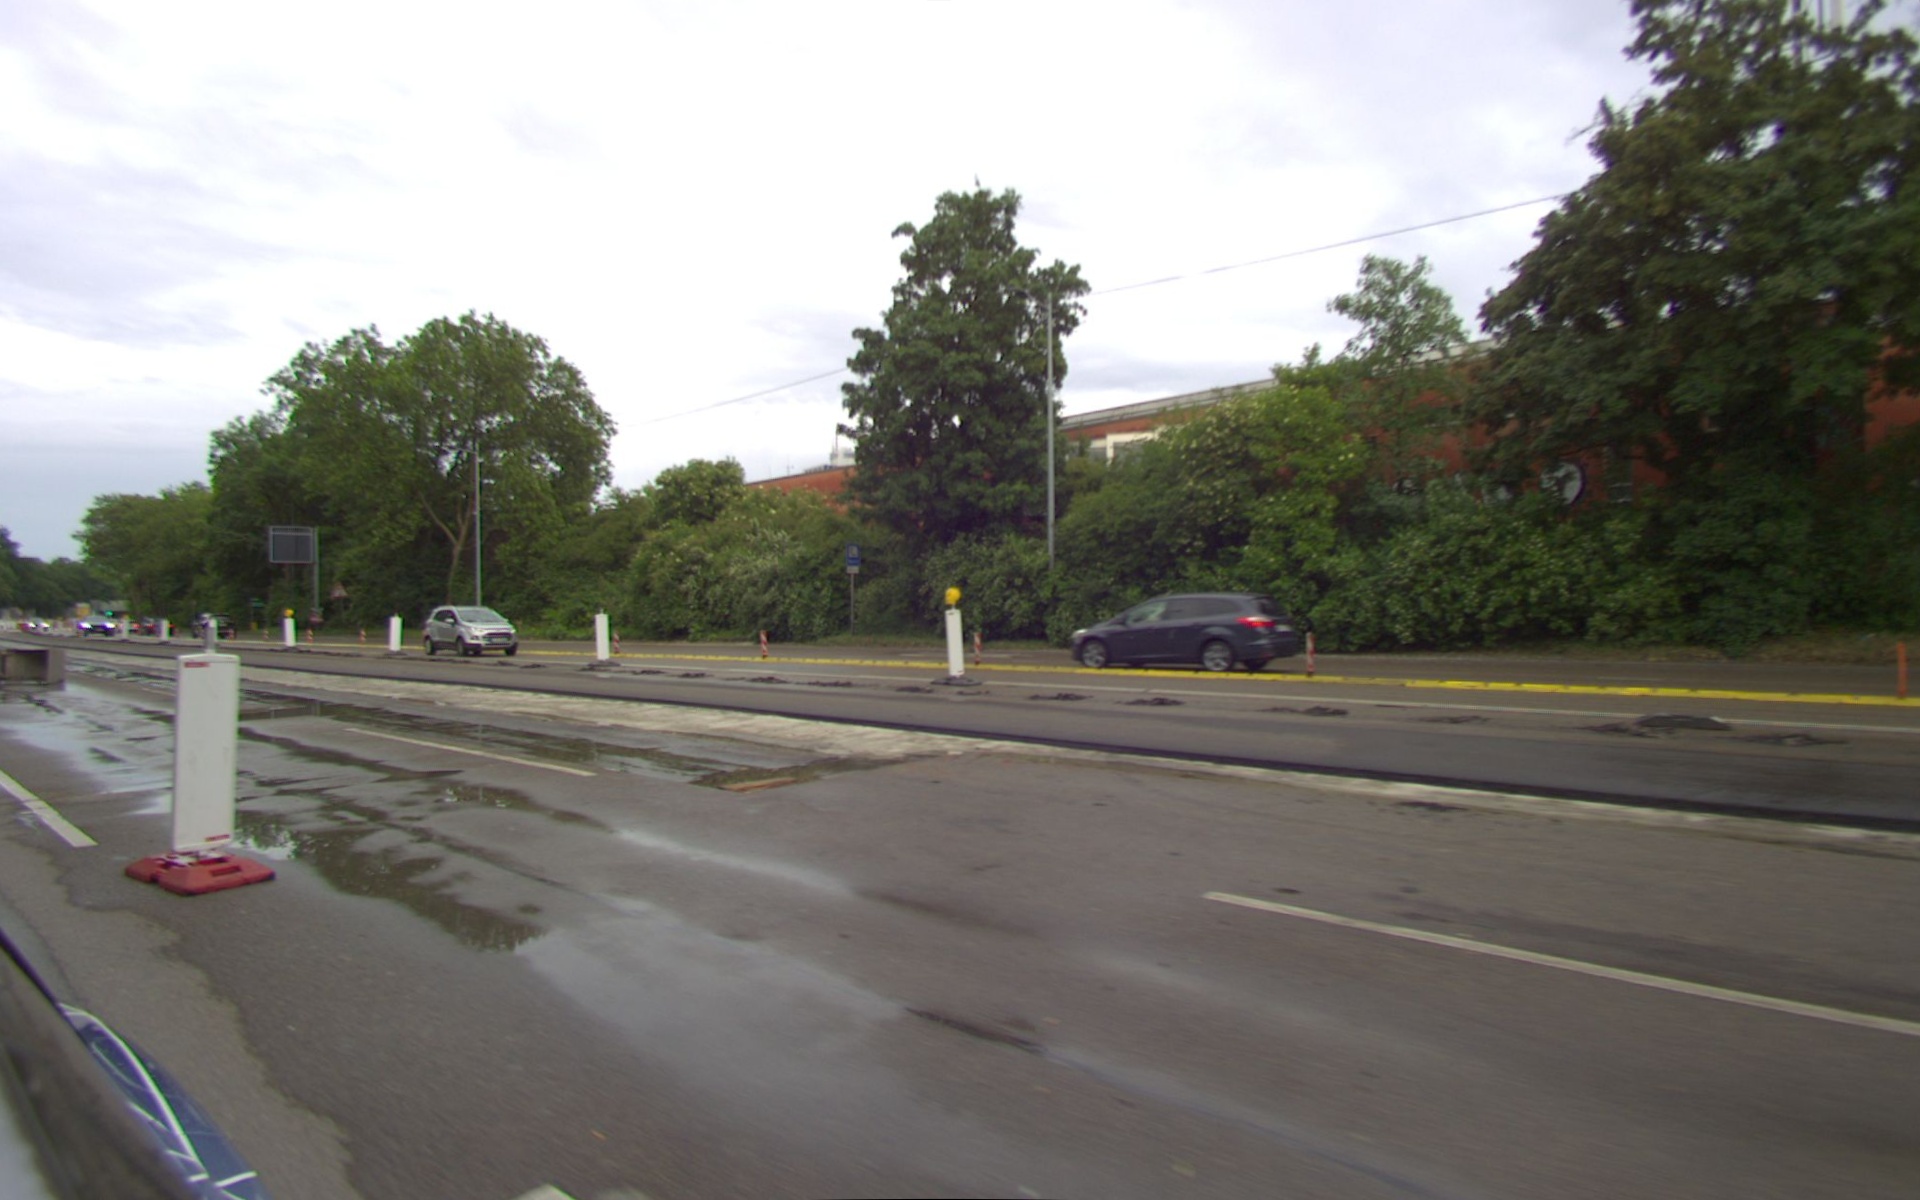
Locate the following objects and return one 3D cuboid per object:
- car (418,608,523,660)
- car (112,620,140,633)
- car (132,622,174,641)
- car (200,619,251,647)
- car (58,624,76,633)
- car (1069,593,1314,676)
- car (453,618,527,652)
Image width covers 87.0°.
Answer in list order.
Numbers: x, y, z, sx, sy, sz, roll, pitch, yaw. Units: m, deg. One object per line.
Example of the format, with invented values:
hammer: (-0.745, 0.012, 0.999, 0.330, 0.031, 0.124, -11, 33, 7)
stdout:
car: (-15.931, 1.064, 32.869, 3.860, 1.596, 1.770, -1, -1, 42)
car: (-94.929, 3.010, 115.182, 4.600, 1.430, 1.799, -1, 0, 41)
car: (-65.749, 2.527, 82.417, 4.897, 1.495, 1.742, -1, -1, 41)
car: (-47.584, 2.091, 65.532, 4.491, 1.735, 1.717, -1, 0, 41)
car: (-161.150, 5.153, 182.636, 4.914, 1.676, 1.757, -1, -3, 42)
car: (4.322, 0.620, 19.355, 4.319, 1.426, 1.652, -1, -1, 42)
car: (-19.820, 1.454, 42.616, 3.860, 1.342, 1.432, -1, -1, 42)
